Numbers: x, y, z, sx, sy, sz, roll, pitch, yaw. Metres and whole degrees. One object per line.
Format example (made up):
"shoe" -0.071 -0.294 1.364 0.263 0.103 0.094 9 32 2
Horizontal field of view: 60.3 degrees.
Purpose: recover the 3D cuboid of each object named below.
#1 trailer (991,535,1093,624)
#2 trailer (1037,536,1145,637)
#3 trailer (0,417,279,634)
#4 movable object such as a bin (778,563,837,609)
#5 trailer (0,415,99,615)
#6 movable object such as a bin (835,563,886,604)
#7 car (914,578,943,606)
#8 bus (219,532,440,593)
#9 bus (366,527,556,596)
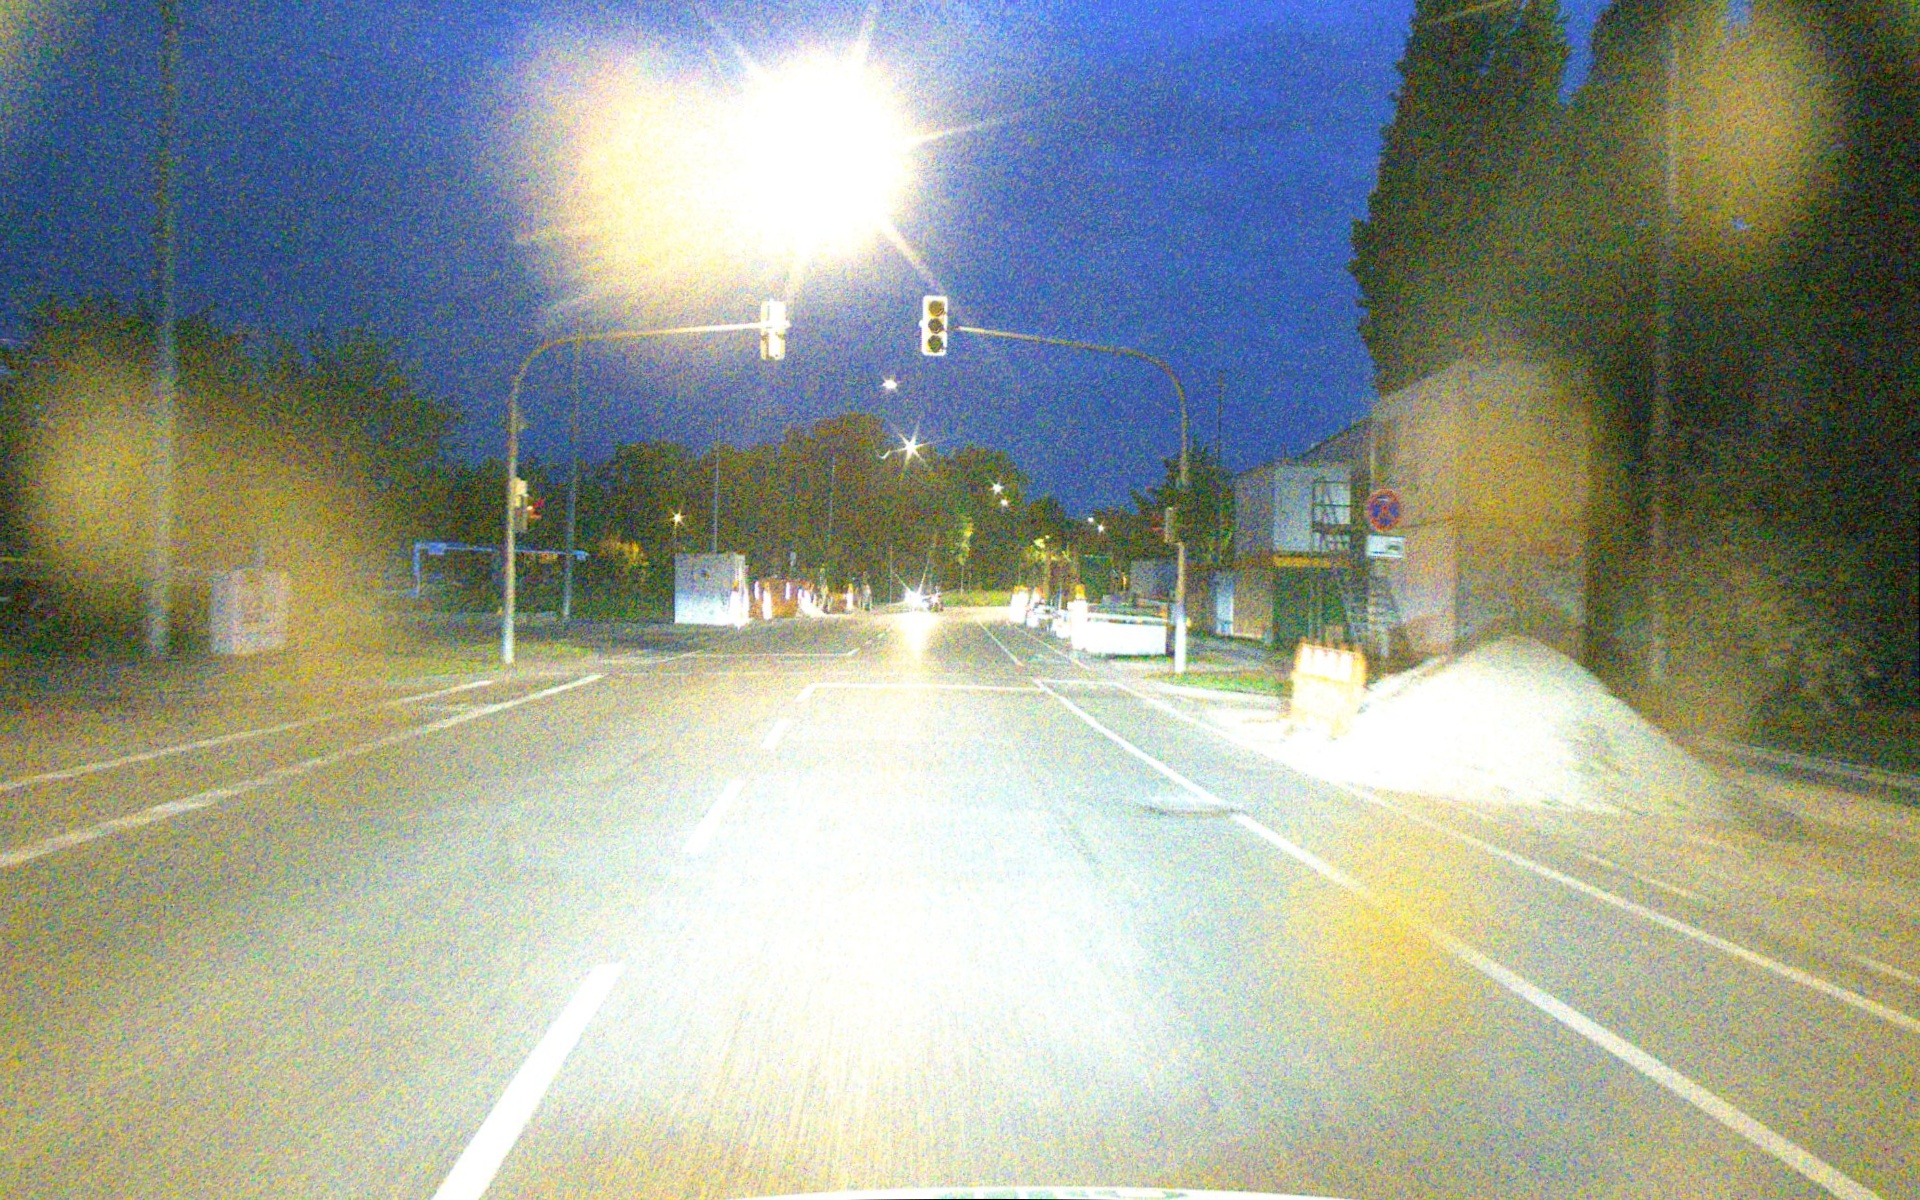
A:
"trailer" 3.226 -0.778 66.487 3.413 3.275 4.861 3 0 -4
"trailer" 3.999 -0.392 51.564 2.562 2.895 4.705 3 0 -4
"trailer" -19.060 -1.442 31.168 2.993 4.001 15.014 3 1 14
"movable object such as a bin" -8.193 -0.770 89.223 1.951 2.418 4.706 1 1 11
"trailer" -23.541 -1.914 30.755 2.996 4.220 15.002 3 0 21
"movable object such as a bin" -6.092 -0.984 101.607 1.951 2.418 4.706 1 0 11
"car" -1.902 -0.503 99.821 1.662 1.604 2.957 -1 1 -1
"bus" -33.691 -1.936 89.251 2.888 3.034 12.257 2 1 28
"bus" -25.570 -1.932 85.767 2.949 3.260 12.681 1 1 16
